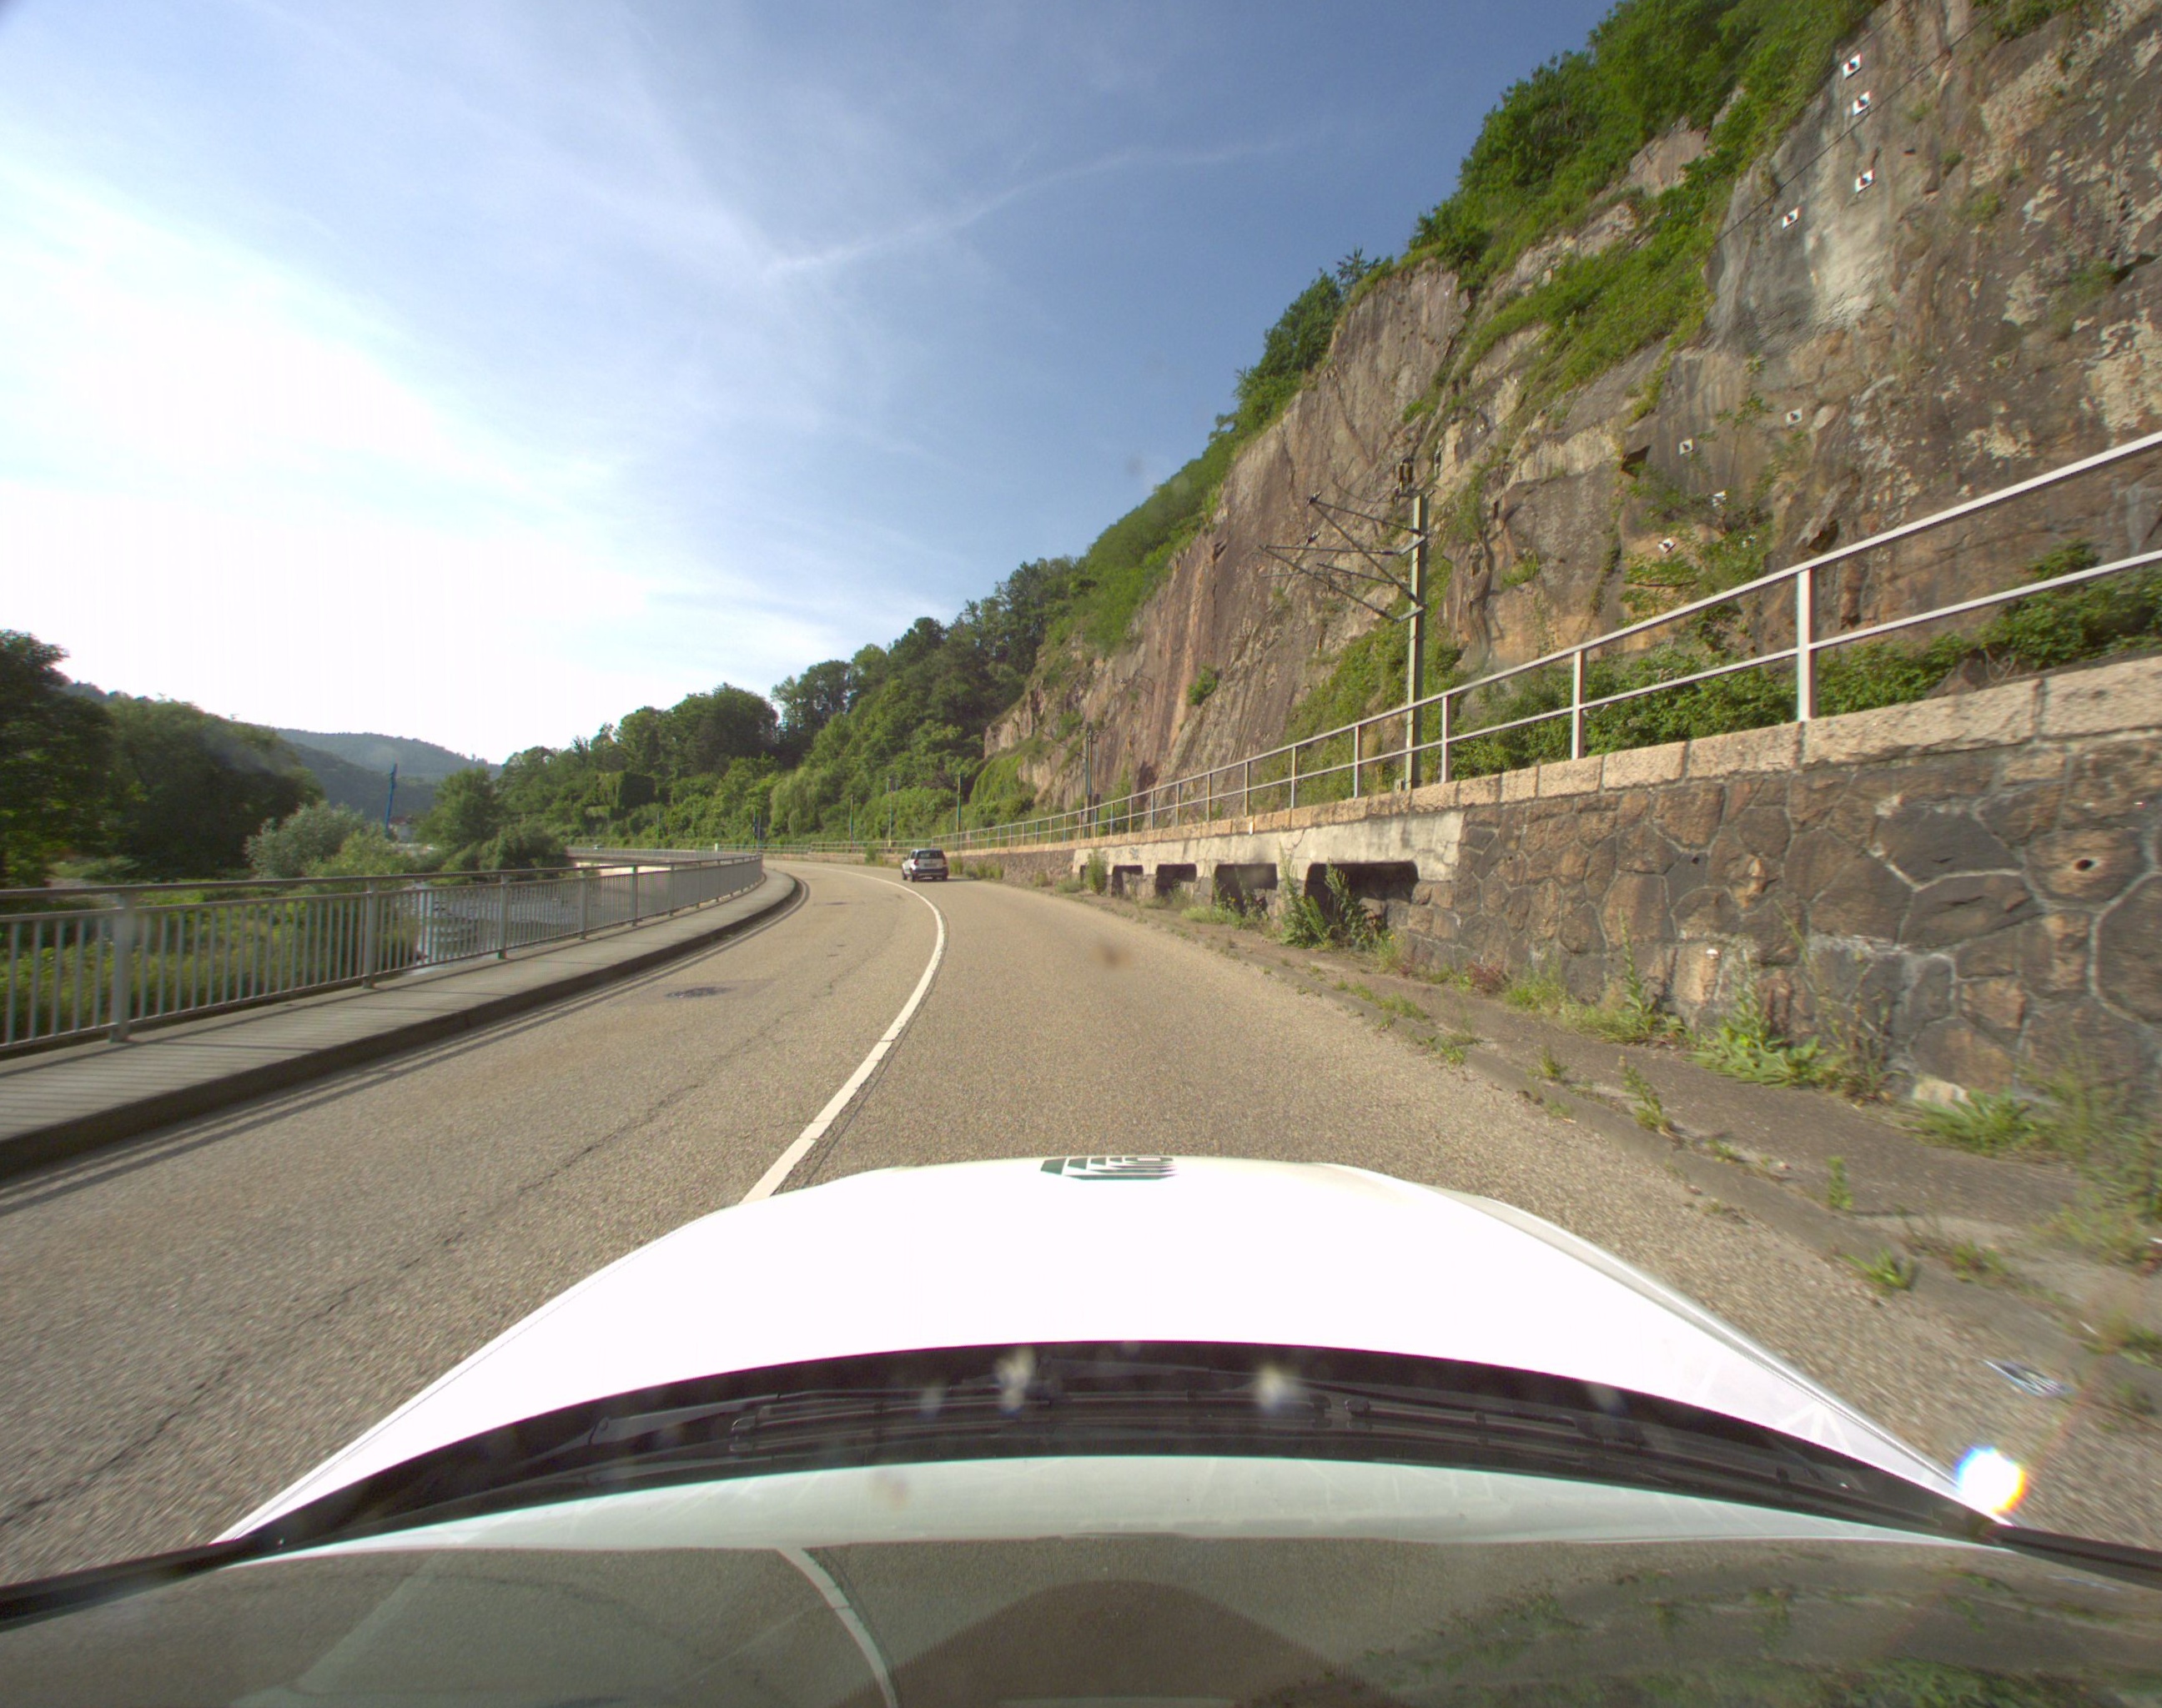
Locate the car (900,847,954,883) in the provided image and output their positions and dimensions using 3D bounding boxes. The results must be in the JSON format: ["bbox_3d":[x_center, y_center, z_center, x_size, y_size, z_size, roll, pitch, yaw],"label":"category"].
[{"bbox_3d":[-7.744,0.482,40.627,1.880,1.655,3.971,-1,1,-22],"label":"car"}]
